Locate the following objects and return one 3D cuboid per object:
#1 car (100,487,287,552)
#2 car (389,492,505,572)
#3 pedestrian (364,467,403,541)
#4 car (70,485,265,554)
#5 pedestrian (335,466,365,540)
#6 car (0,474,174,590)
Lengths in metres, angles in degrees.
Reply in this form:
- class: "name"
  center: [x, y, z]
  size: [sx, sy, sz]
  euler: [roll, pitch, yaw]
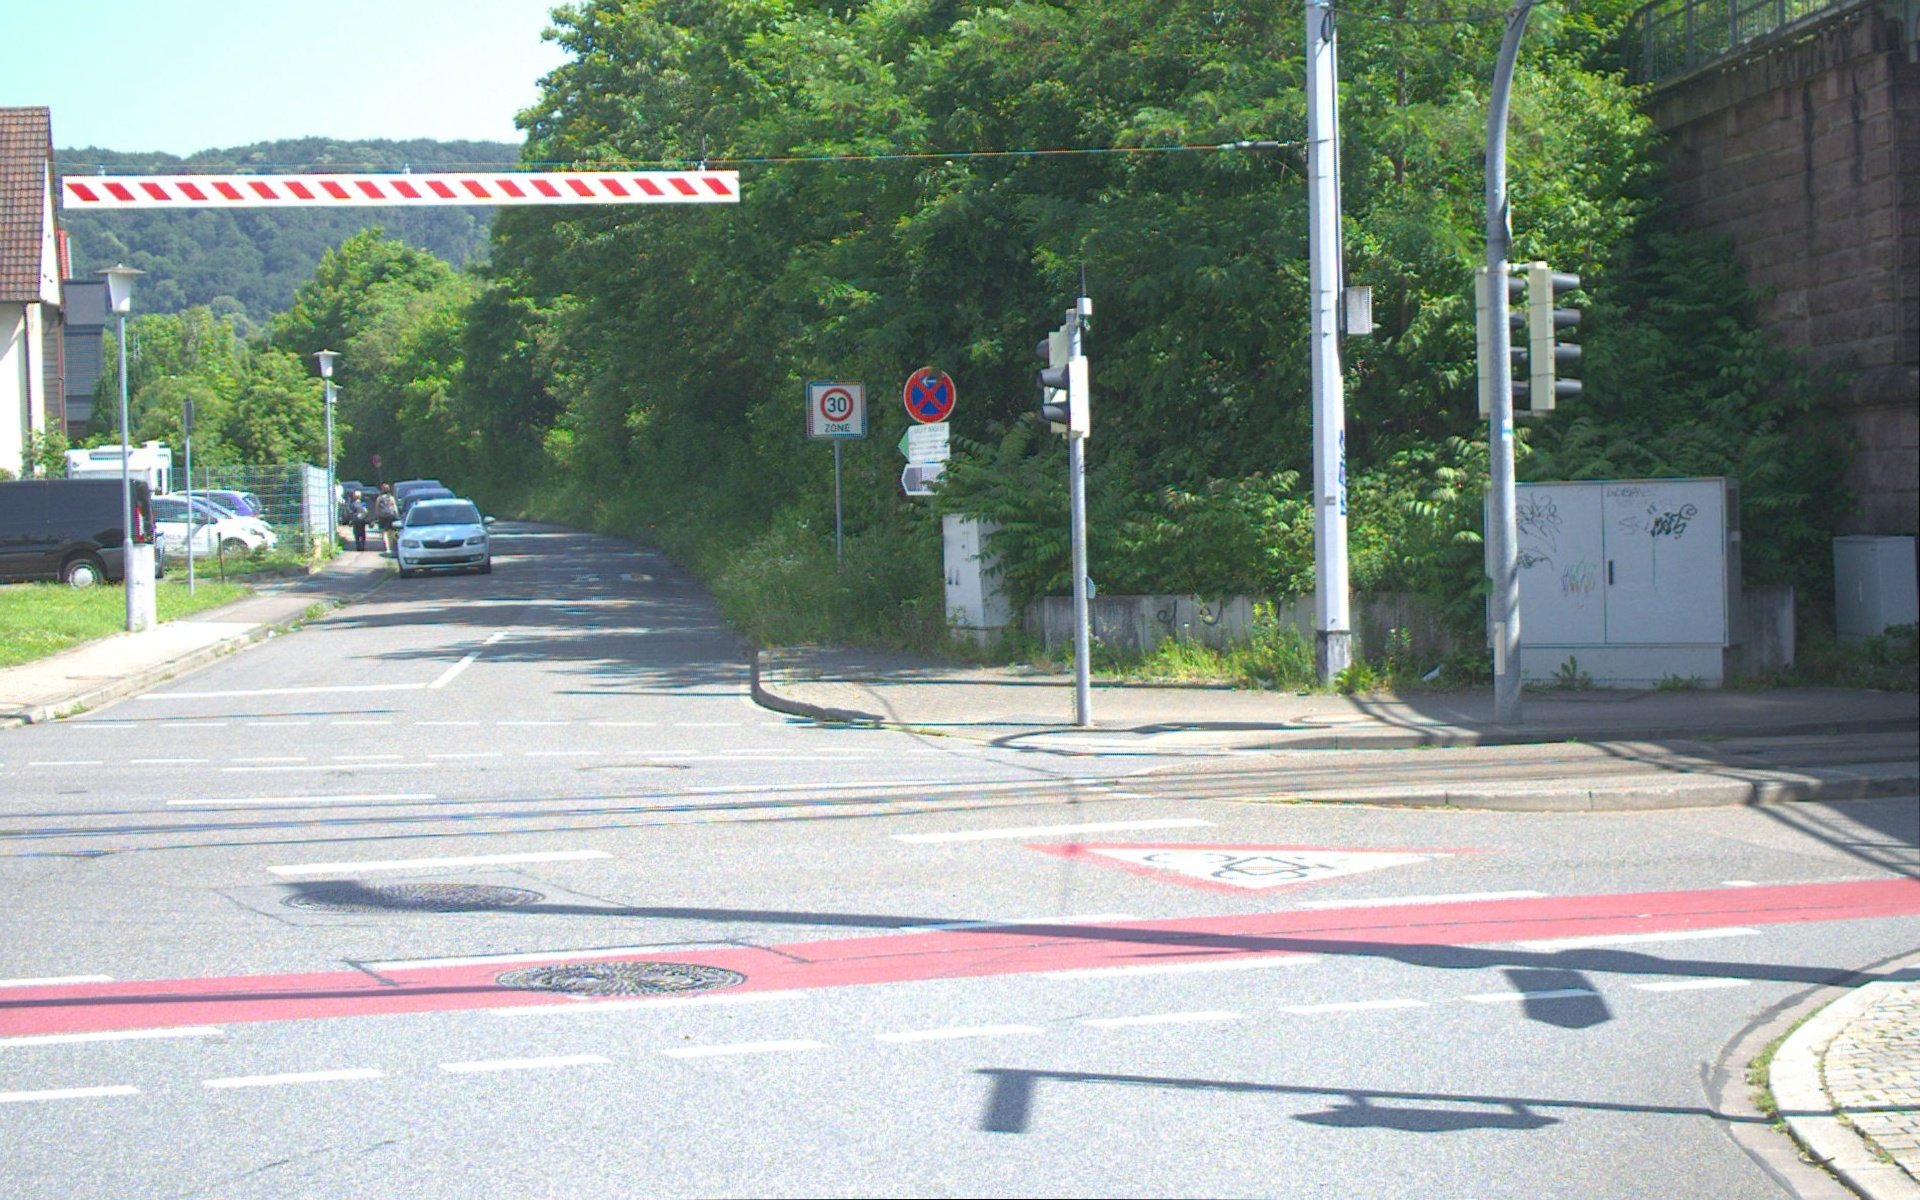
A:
- class: "car"
  center: [-16.388, -1.718, 73.642]
  size: [3.720, 1.367, 1.605]
  euler: [0, 1, -5]
- class: "car"
  center: [-10.131, -1.376, 68.167]
  size: [2.086, 1.505, 4.540]
  euler: [0, 2, -6]
- class: "pedestrian"
  center: [-13.878, -2.305, 82.802]
  size: [0.875, 1.757, 0.731]
  euler: [0, 0, -7]
- class: "car"
  center: [-16.331, -1.647, 70.986]
  size: [3.720, 1.367, 1.605]
  euler: [0, 0, -5]
- class: "pedestrian"
  center: [-14.703, -2.323, 82.850]
  size: [0.653, 1.757, 0.804]
  euler: [0, 0, -7]
- class: "car"
  center: [-15.819, -1.086, 56.874]
  size: [5.247, 1.810, 2.001]
  euler: [-2, 2, -7]
